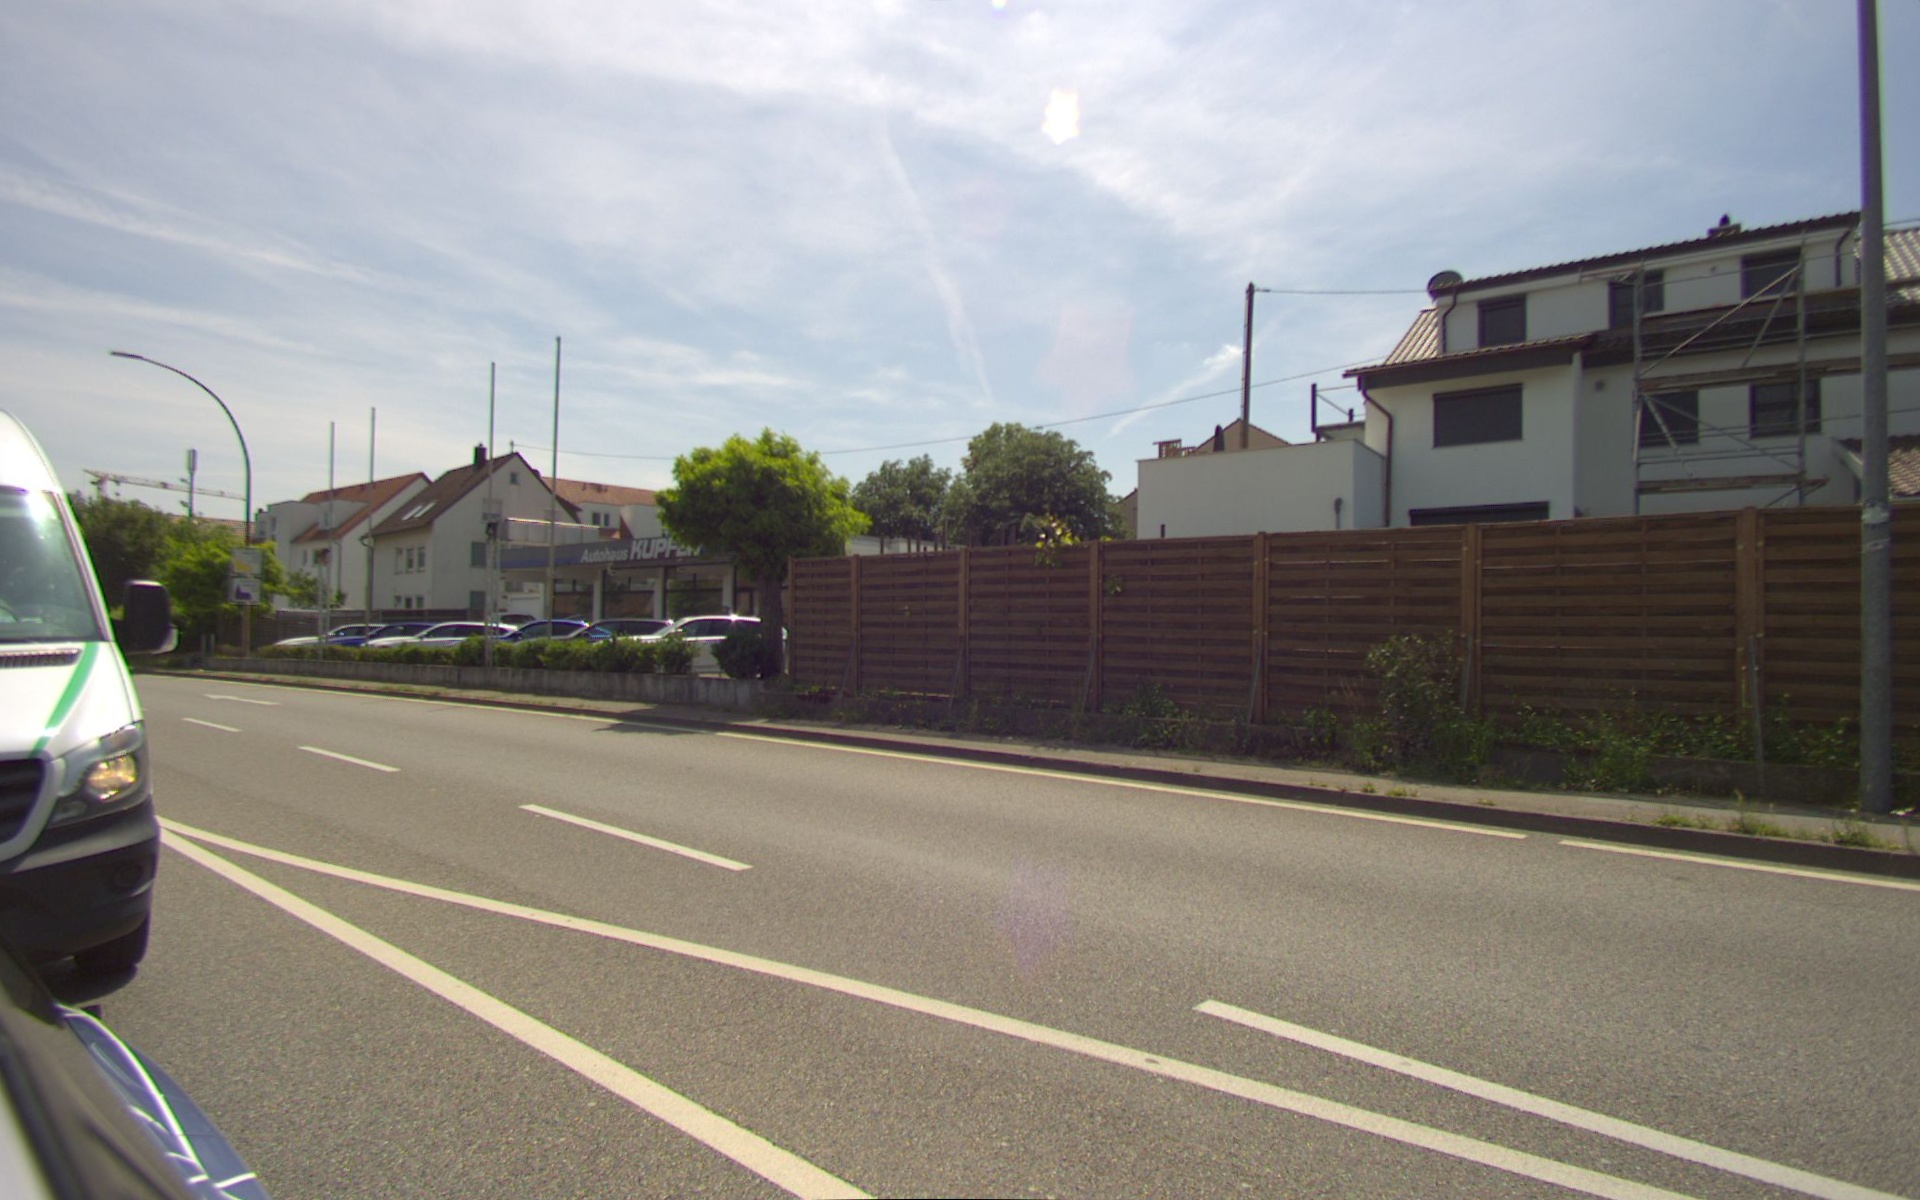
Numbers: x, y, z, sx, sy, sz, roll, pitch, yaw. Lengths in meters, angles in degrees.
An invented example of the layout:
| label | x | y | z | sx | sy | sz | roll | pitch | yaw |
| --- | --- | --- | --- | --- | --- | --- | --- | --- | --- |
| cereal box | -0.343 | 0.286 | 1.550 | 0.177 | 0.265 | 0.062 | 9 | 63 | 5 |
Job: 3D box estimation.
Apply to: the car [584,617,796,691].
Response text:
| label | x | y | z | sx | sy | sz | roll | pitch | yaw |
| --- | --- | --- | --- | --- | --- | --- | --- | --- | --- |
| car | -5.979 | 1.139 | 22.440 | 4.264 | 1.471 | 1.861 | 0 | -1 | -26 |

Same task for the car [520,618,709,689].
| label | x | y | z | sx | sy | sz | roll | pitch | yaw |
| --- | --- | --- | --- | --- | --- | --- | --- | --- | --- |
| car | -8.565 | 1.271 | 25.123 | 4.187 | 1.557 | 1.856 | -1 | -1 | -27 |

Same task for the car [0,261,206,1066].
| label | x | y | z | sx | sy | sz | roll | pitch | yaw |
| --- | --- | --- | --- | --- | --- | --- | --- | --- | --- |
| car | -5.556 | 0.269 | 4.764 | 5.628 | 2.619 | 1.953 | -2 | -1 | 40 |

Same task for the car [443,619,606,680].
| label | x | y | z | sx | sy | sz | roll | pitch | yaw |
| --- | --- | --- | --- | --- | --- | --- | --- | --- | --- |
| car | -11.799 | 1.302 | 27.503 | 3.931 | 1.453 | 1.860 | -1 | -1 | -25 |

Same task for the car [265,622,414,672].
| label | x | y | z | sx | sy | sz | roll | pitch | yaw |
| --- | --- | --- | --- | --- | --- | --- | --- | --- | --- |
| car | -21.600 | 1.606 | 35.445 | 4.192 | 1.541 | 2.006 | -1 | -1 | -24 |

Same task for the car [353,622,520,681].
| label | x | y | z | sx | sy | sz | roll | pitch | yaw |
| --- | --- | --- | --- | --- | --- | --- | --- | --- | --- |
| car | -15.385 | 1.478 | 30.008 | 4.238 | 1.530 | 2.006 | -1 | -1 | -23 |

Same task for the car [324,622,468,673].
| label | x | y | z | sx | sy | sz | roll | pitch | yaw |
| --- | --- | --- | --- | --- | --- | --- | --- | --- | --- |
| car | -18.282 | 1.501 | 33.015 | 3.930 | 1.475 | 2.006 | -1 | -1 | -24 |
